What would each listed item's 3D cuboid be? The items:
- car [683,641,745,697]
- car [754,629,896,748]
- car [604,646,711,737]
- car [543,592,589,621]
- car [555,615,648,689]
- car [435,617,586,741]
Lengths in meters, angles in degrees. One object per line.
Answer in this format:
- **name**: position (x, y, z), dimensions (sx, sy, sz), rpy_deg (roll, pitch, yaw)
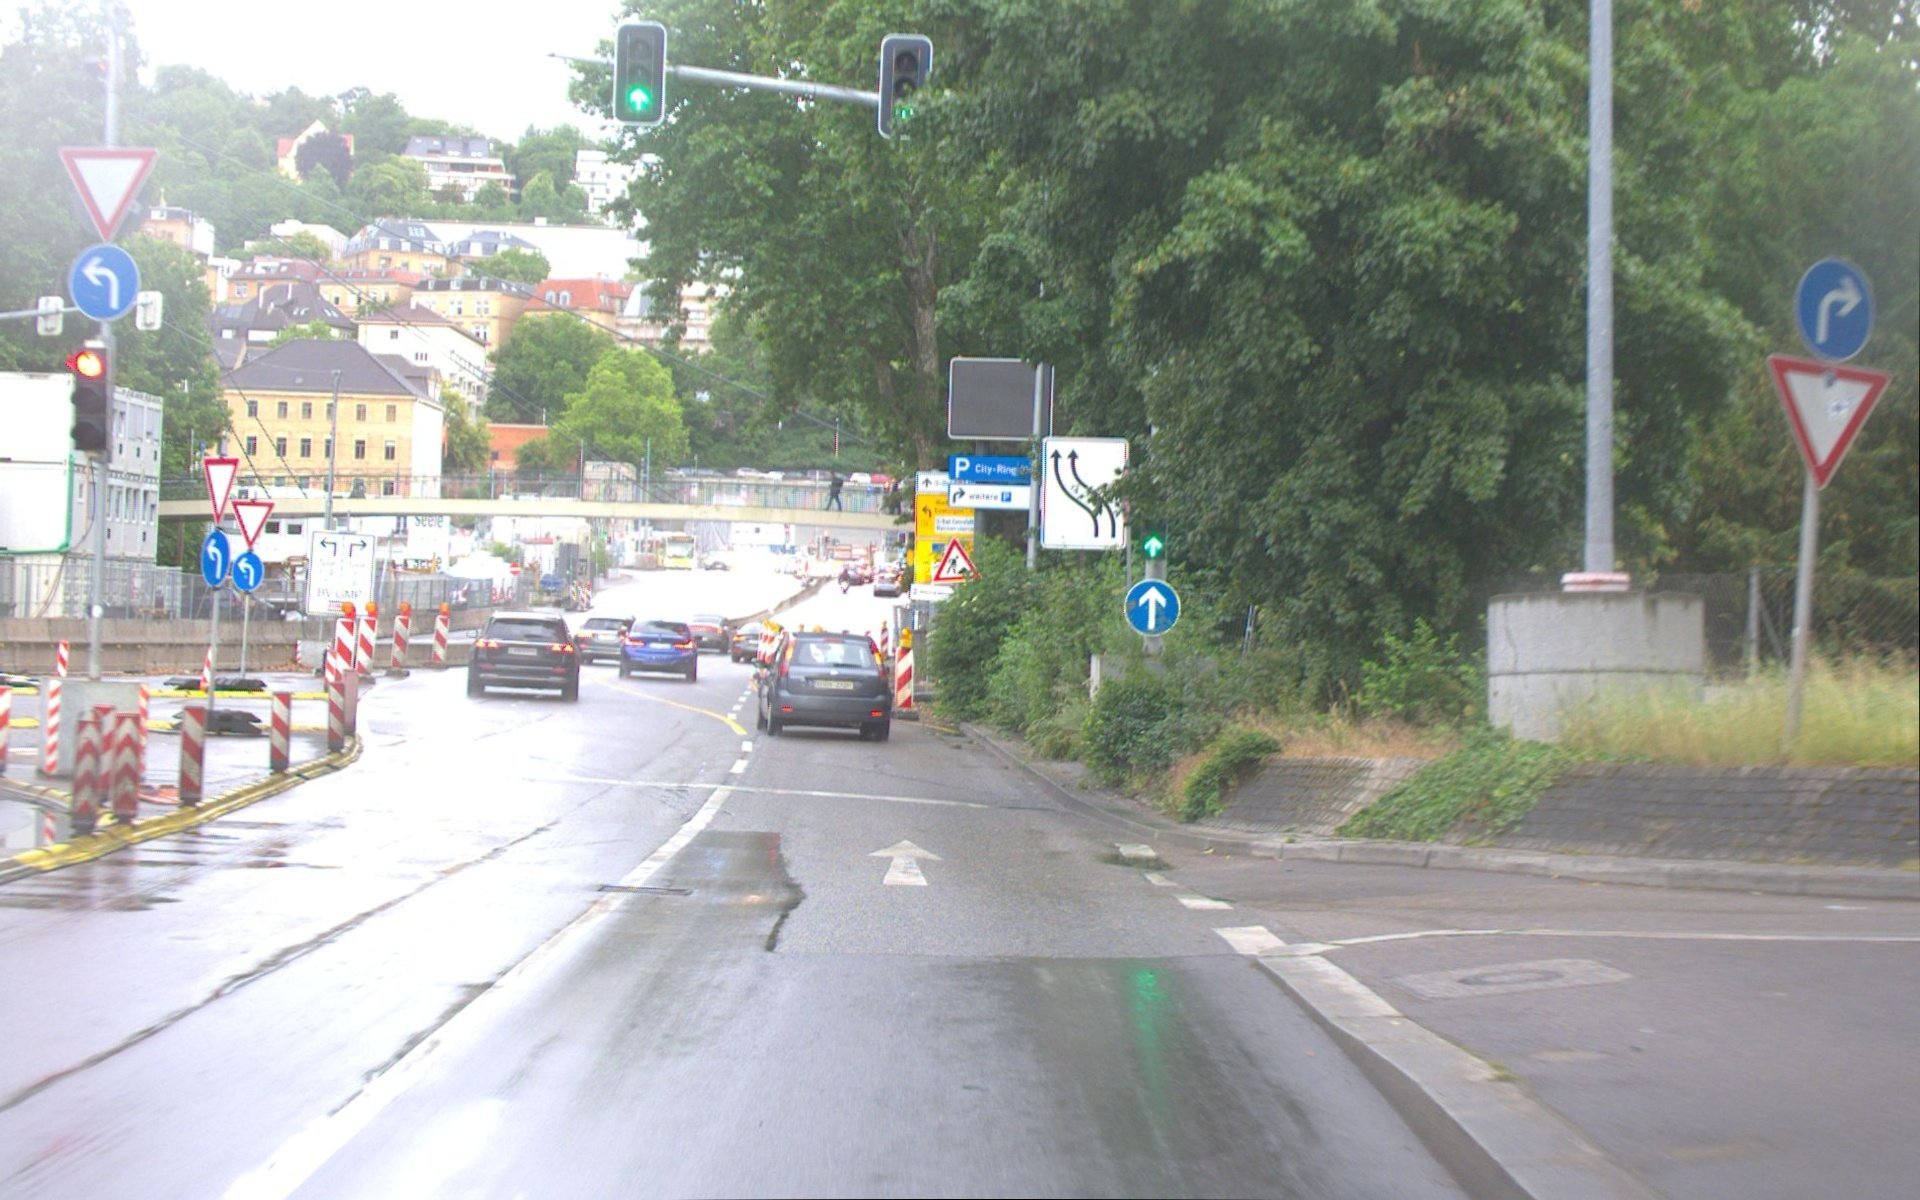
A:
- **car**: position (-9.404, 2.647, 131.480), dimensions (2.051, 2.007, 4.000), rpy_deg (2, -2, 0)
- **car**: position (-1.903, 1.233, 47.448), dimensions (1.812, 1.522, 4.000), rpy_deg (2, -2, -4)
- **car**: position (-7.181, 2.192, 81.959), dimensions (2.105, 2.044, 3.999), rpy_deg (2, -2, 1)
- **car**: position (-23.995, 0.379, 209.414), dimensions (1.994, 1.616, 3.999), rpy_deg (2, 0, 4)
- **car**: position (-10.221, 1.463, 98.198), dimensions (1.994, 2.007, 3.999), rpy_deg (2, 0, 3)
- **car**: position (-7.774, 1.377, 59.220), dimensions (2.016, 2.007, 4.001), rpy_deg (2, -2, -15)
